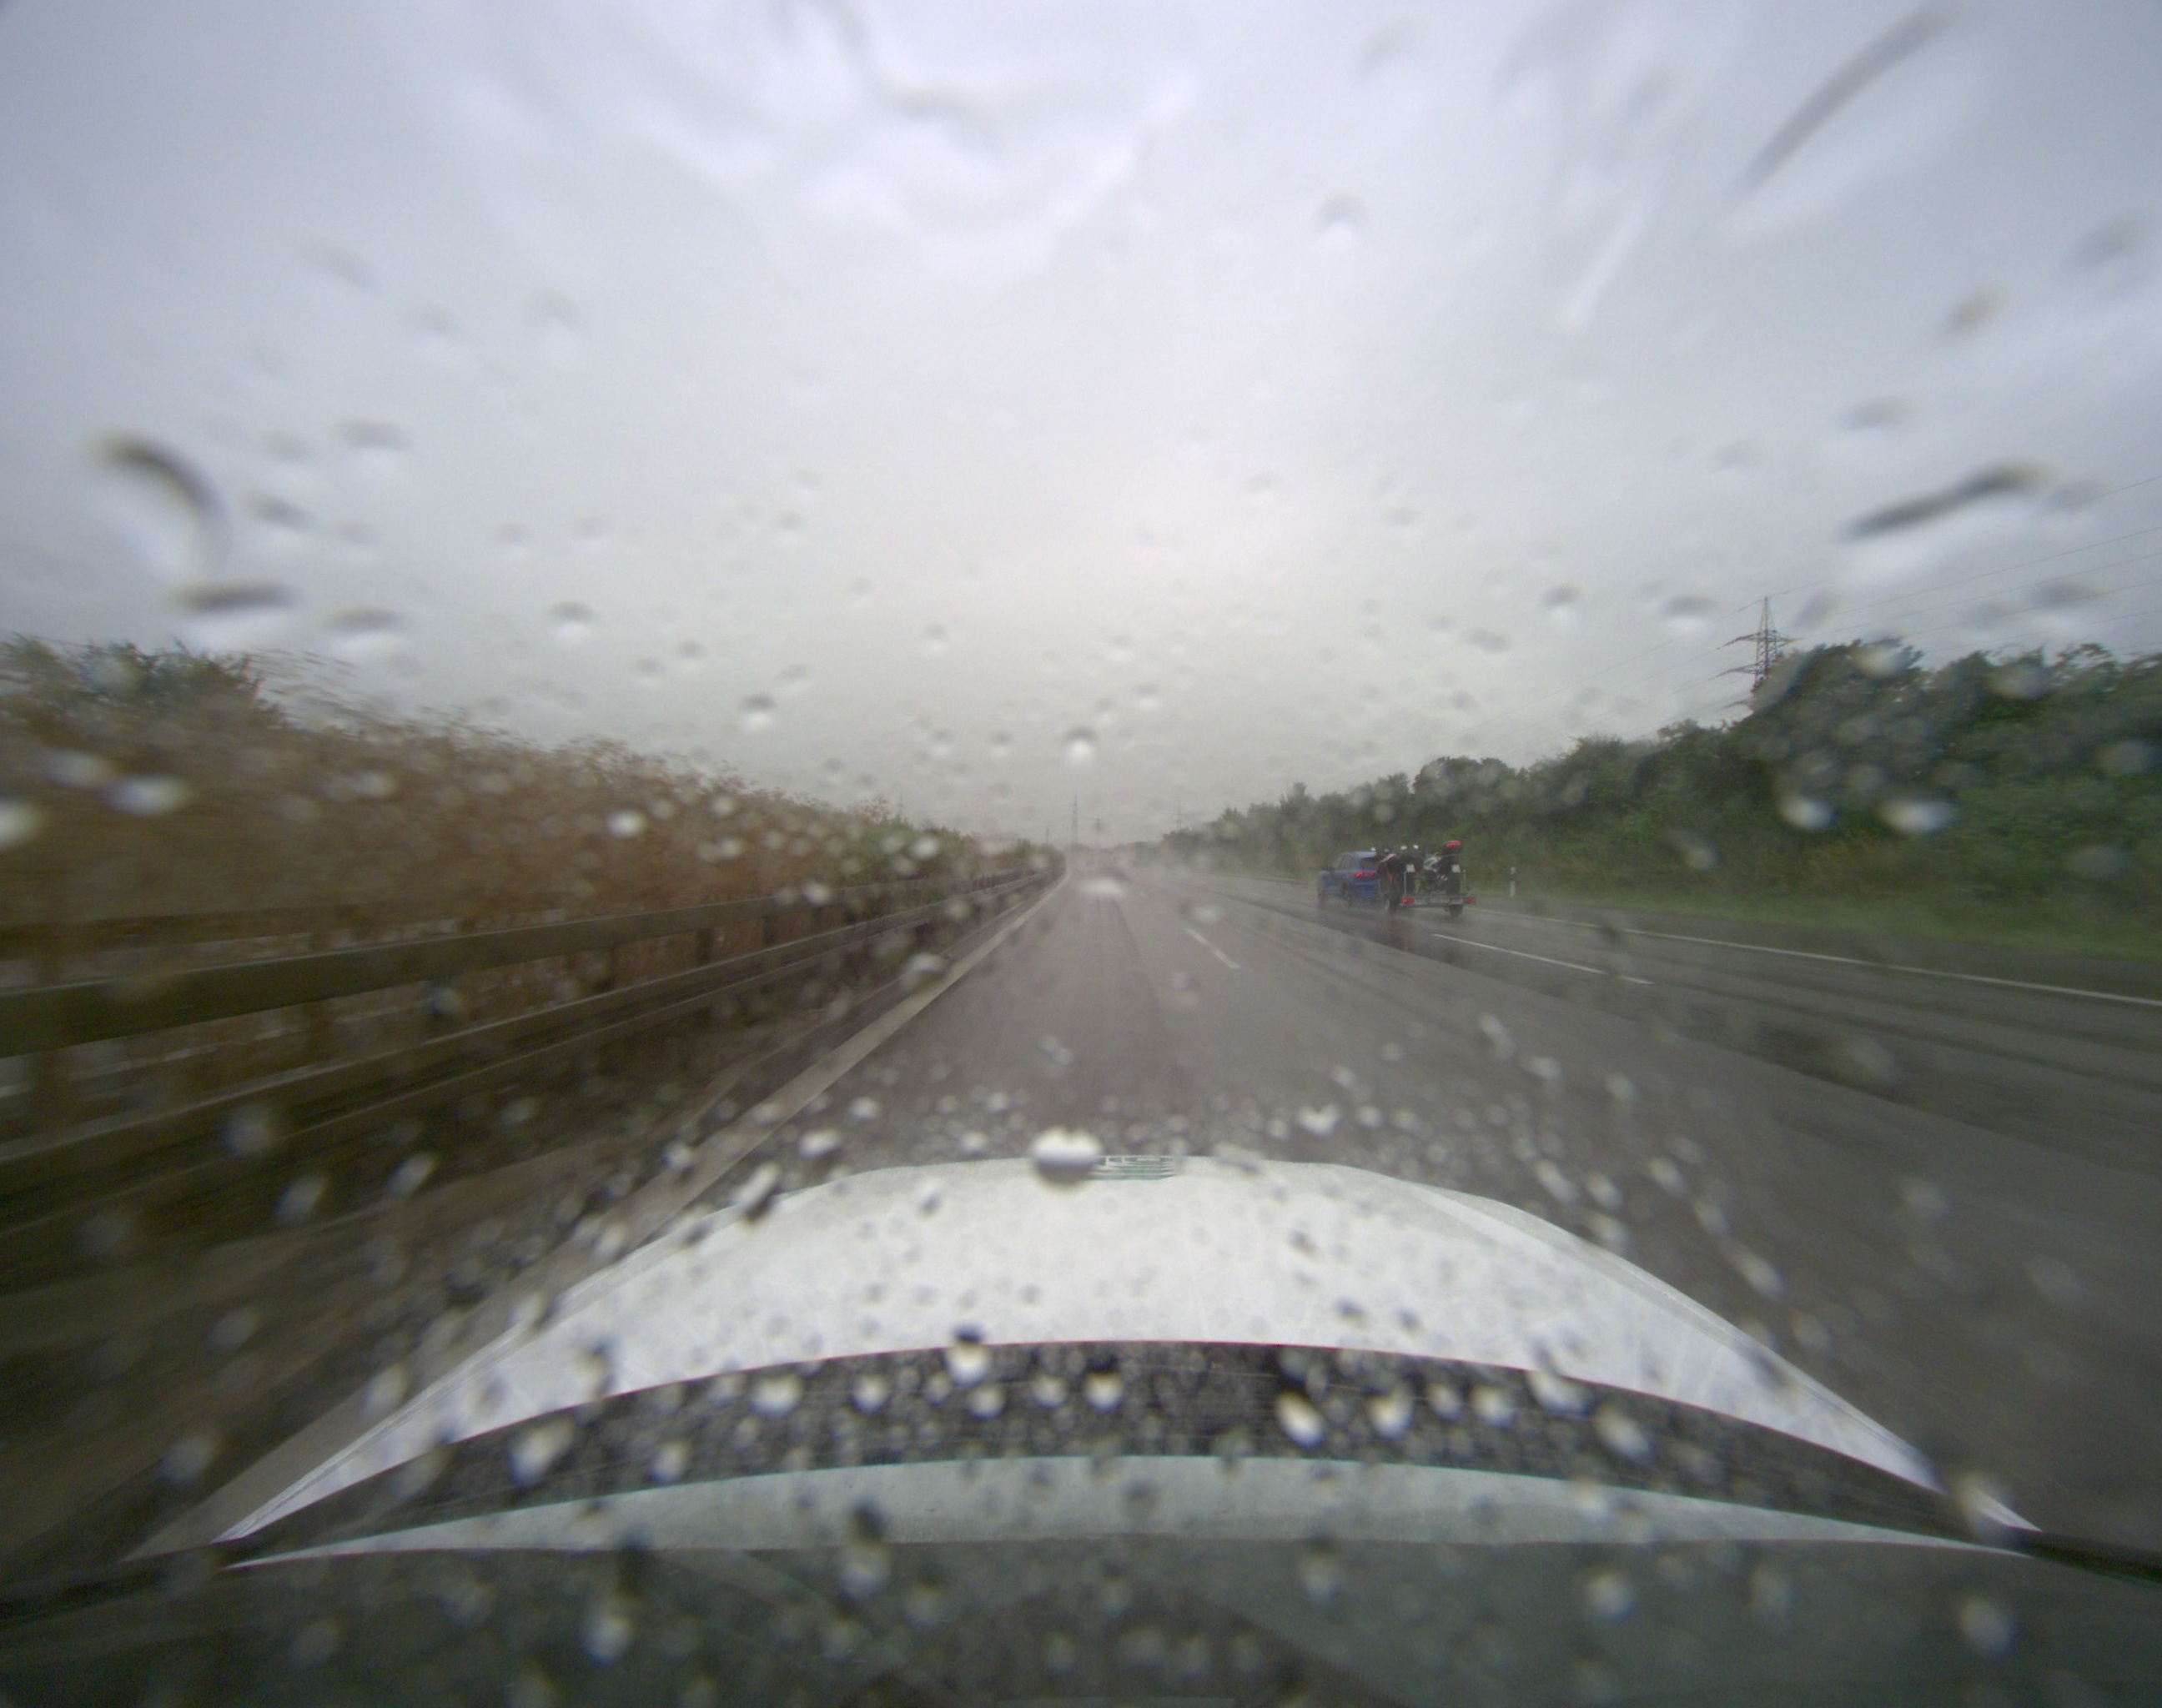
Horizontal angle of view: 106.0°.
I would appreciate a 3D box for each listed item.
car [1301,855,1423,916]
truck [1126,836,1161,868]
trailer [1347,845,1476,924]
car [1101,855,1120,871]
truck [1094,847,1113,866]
[{"bbox_3d":[8.235,0.879,24.392,1.986,1.619,4.993,-1,-1,1],"label":"car"},{"bbox_3d":[9.409,-0.191,124.766,4.175,4.630,16.104,-1,-1,0],"label":"truck"},{"bbox_3d":[8.088,0.720,20.264,1.972,1.785,3.189,-1,-1,1],"label":"trailer"},{"bbox_3d":[3.622,1.095,101.067,1.989,2.014,3.996,-1,0,-3],"label":"car"},{"bbox_3d":[5.288,0.564,195.000,3.230,4.311,8.812,-1,0,-8],"label":"truck"}]
